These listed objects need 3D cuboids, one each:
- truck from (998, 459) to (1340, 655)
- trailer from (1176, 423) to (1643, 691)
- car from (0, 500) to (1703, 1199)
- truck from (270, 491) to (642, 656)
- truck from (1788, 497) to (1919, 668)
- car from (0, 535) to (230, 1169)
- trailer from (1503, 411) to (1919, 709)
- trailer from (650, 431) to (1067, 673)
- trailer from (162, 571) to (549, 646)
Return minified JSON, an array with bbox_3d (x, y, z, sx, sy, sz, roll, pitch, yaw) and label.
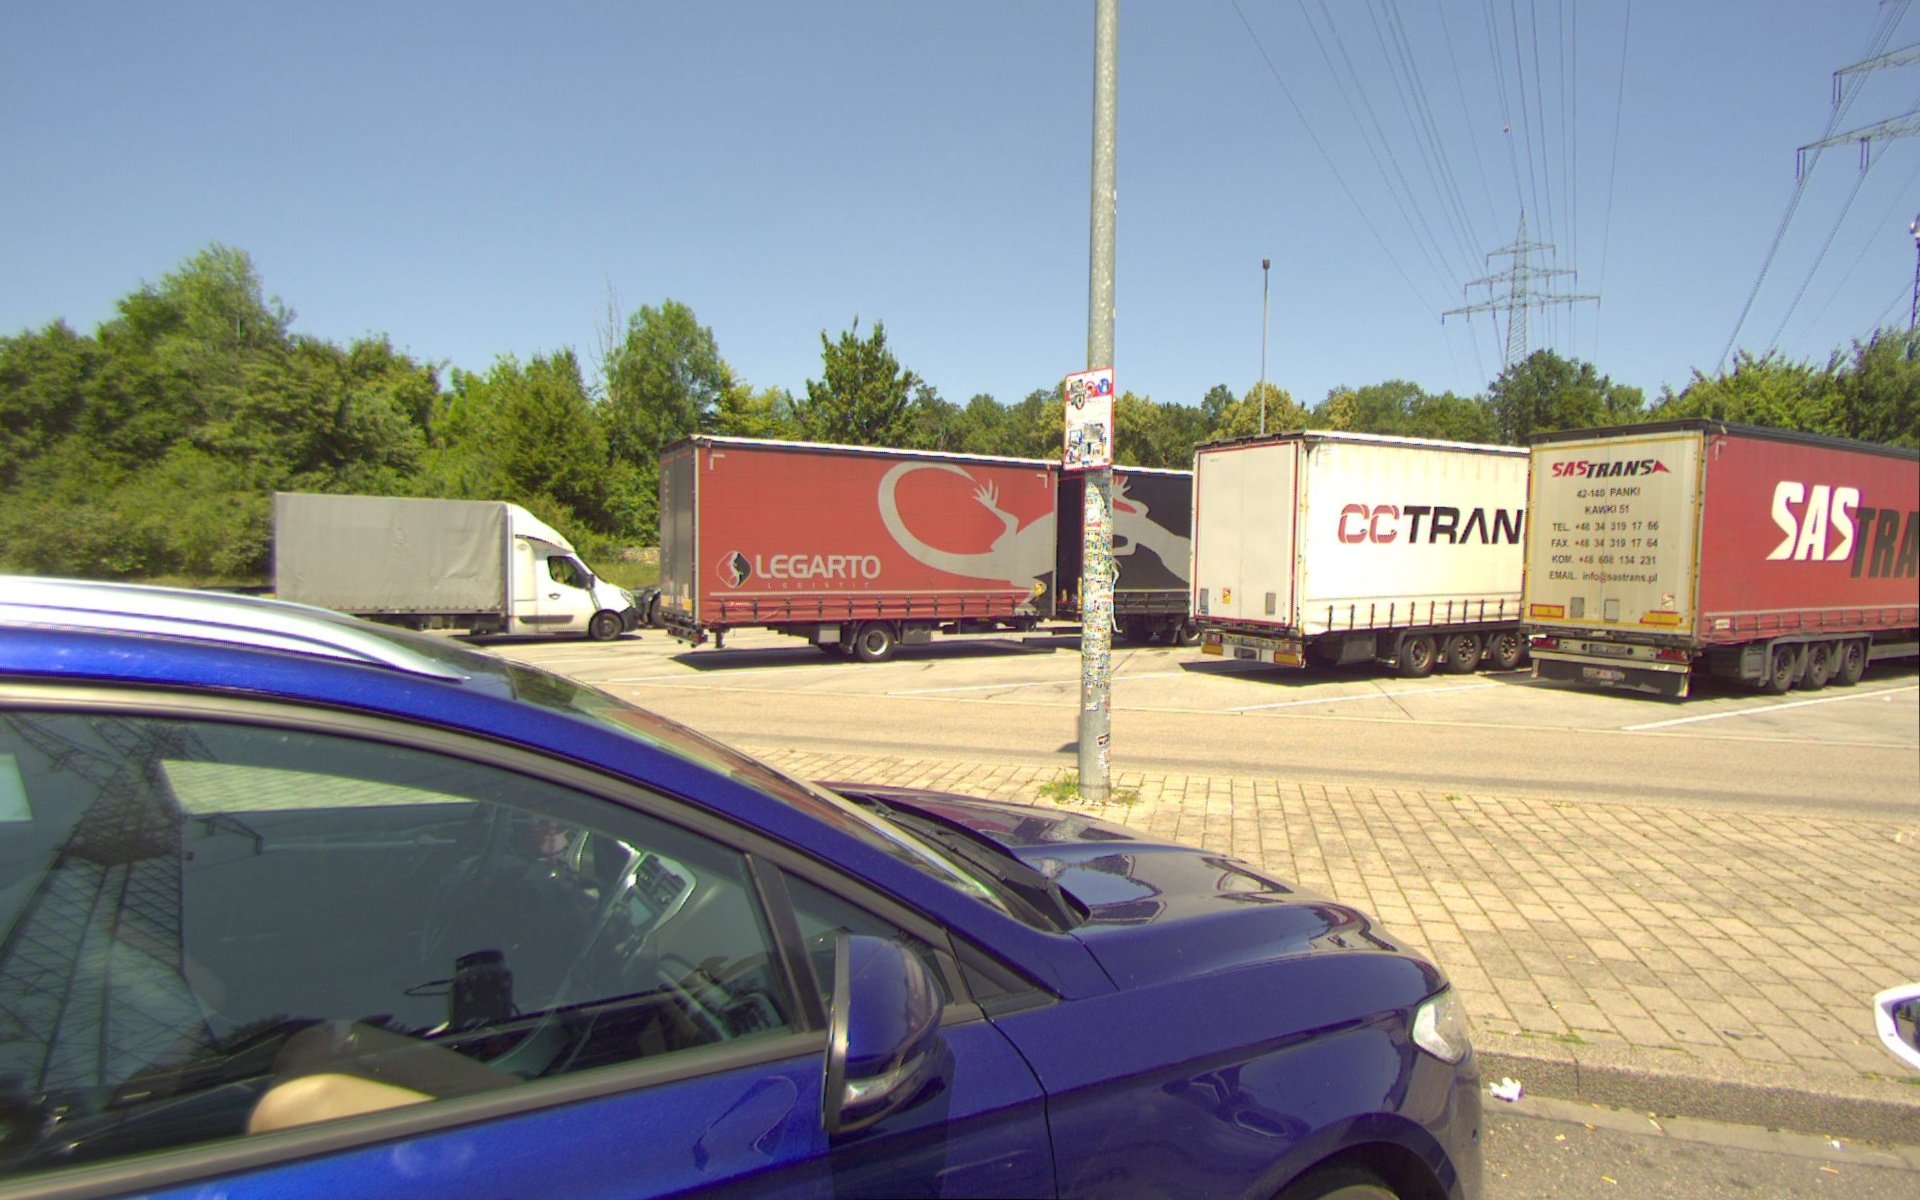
[{"bbox_3d":[5.270,-0.998,24.548,8.586,4.127,2.693,-1,3,-30],"label":"truck"},{"bbox_3d":[8.971,-0.770,19.353,10.264,4.158,2.693,-1,3,-30],"label":"trailer"},{"bbox_3d":[-0.972,0.655,1.460,4.522,1.491,1.743,0,2,-32],"label":"car"},{"bbox_3d":[-11.240,-0.617,23.002,7.187,3.289,2.694,-1,3,-29],"label":"truck"},{"bbox_3d":[21.257,-0.407,22.057,5.903,3.409,2.798,-1,3,-30],"label":"truck"},{"bbox_3d":[-4.414,0.583,2.097,4.522,1.526,1.743,0,2,-32],"label":"car"},{"bbox_3d":[15.465,-0.678,18.620,13.599,4.127,2.807,-1,3,-31],"label":"trailer"},{"bbox_3d":[-1.883,-0.900,20.339,8.007,4.127,2.693,-1,3,-30],"label":"trailer"},{"bbox_3d":[-14.751,0.111,25.241,8.007,1.648,2.199,-1,3,-30],"label":"trailer"}]
